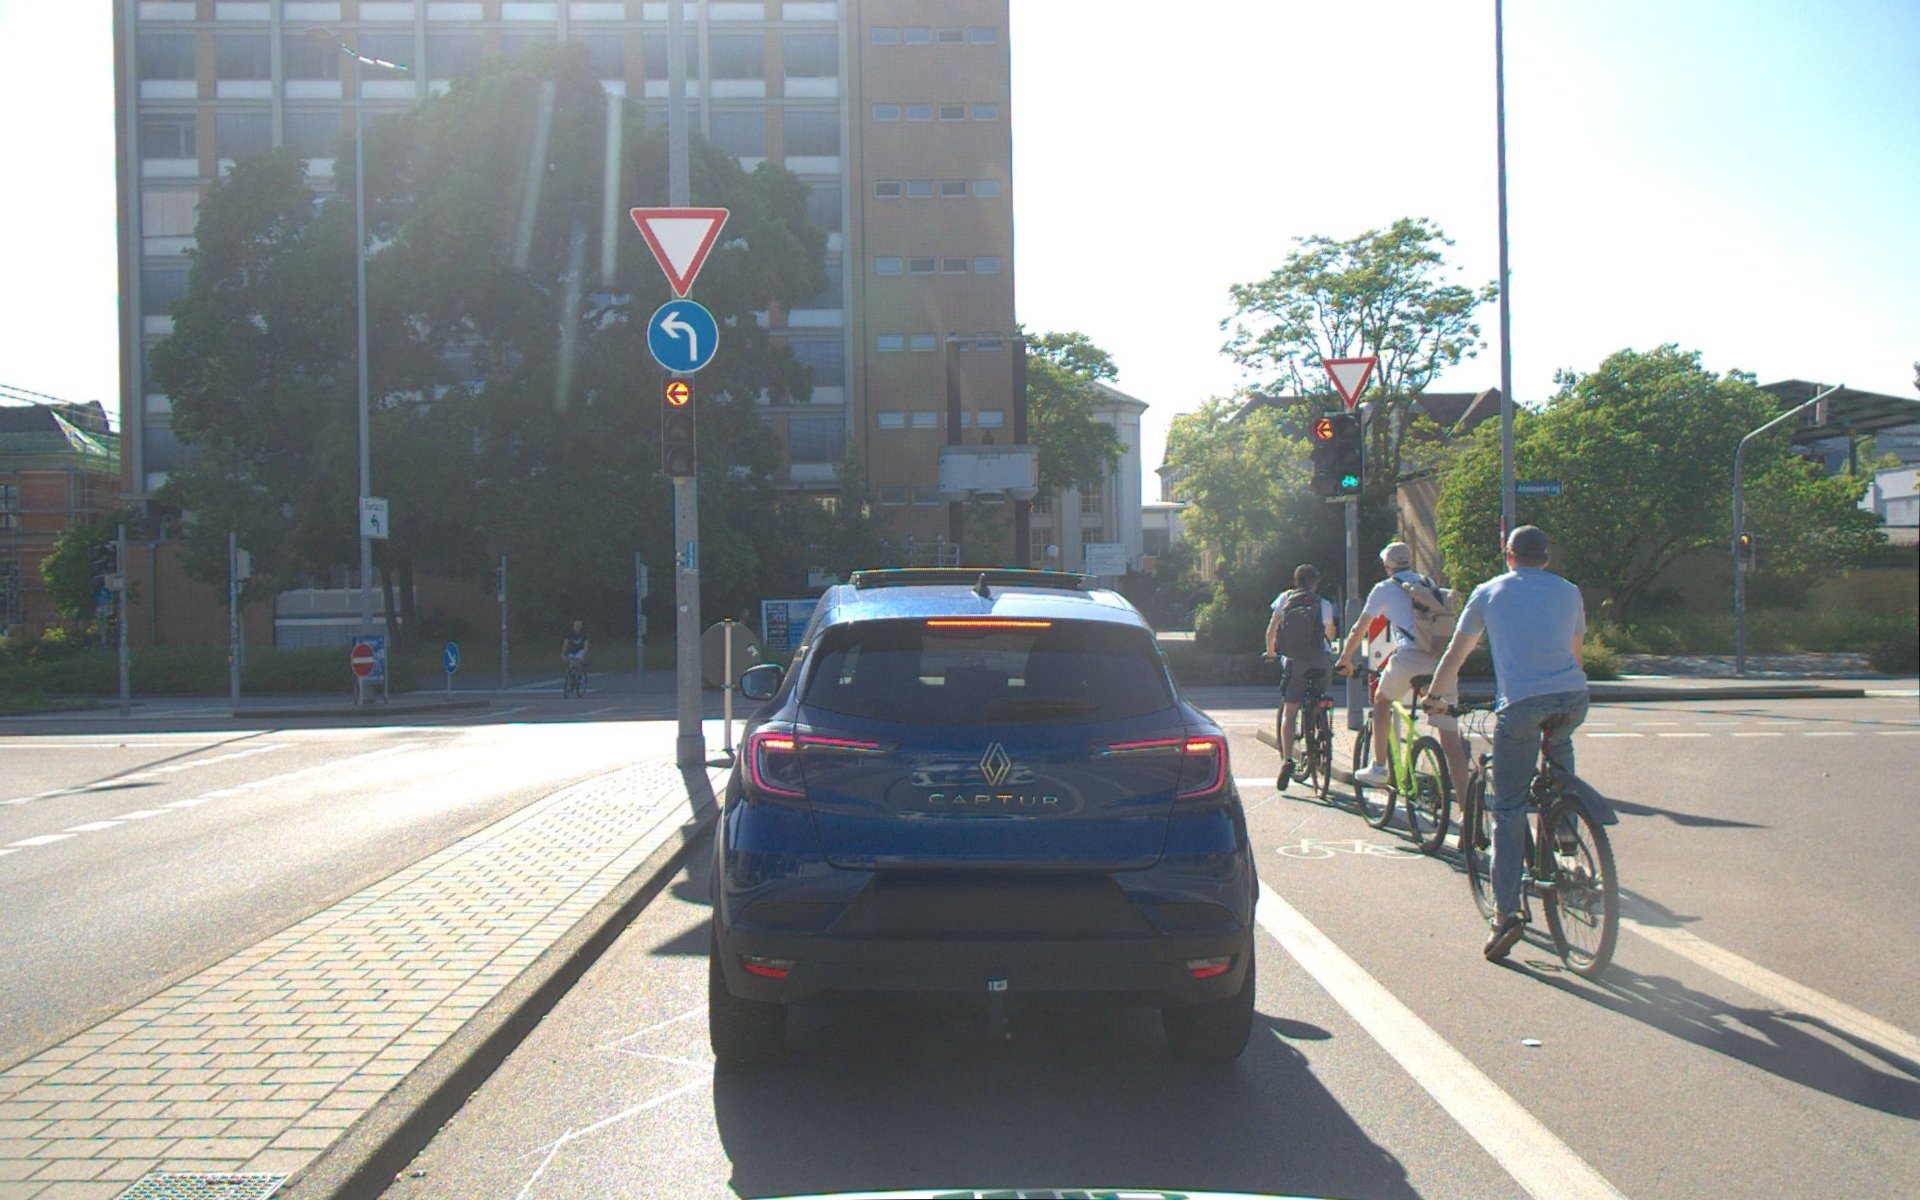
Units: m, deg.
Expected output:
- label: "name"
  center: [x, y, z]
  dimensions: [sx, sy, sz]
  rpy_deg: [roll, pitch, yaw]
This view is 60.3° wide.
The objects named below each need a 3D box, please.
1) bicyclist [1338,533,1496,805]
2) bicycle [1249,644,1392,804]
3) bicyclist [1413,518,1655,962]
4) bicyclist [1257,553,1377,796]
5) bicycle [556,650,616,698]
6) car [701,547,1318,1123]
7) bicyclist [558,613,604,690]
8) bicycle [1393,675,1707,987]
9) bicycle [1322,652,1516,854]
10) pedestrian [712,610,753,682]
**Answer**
- label: "bicyclist"
  center: [2.863, 0.413, 10.451]
  dimensions: [0.664, 1.622, 1.142]
  rpy_deg: [0, 0, -1]
- label: "bicycle"
  center: [2.779, 0.924, 12.931]
  dimensions: [0.675, 1.108, 1.922]
  rpy_deg: [0, 0, -1]
- label: "bicyclist"
  center: [2.513, 0.574, 7.365]
  dimensions: [0.669, 1.822, 1.142]
  rpy_deg: [0, 0, -1]
- label: "bicyclist"
  center: [2.786, 0.559, 13.003]
  dimensions: [0.685, 1.822, 1.142]
  rpy_deg: [0, 0, -1]
- label: "bicycle"
  center: [-8.699, 1.703, 38.508]
  dimensions: [0.739, 1.002, 2.095]
  rpy_deg: [-1, 0, 5]
- label: "car"
  center: [0.060, 0.663, 6.645]
  dimensions: [1.753, 1.613, 3.912]
  rpy_deg: [0, 0, -3]
- label: "bicyclist"
  center: [-8.739, 1.173, 38.158]
  dimensions: [0.739, 1.746, 0.999]
  rpy_deg: [-1, 0, 5]
- label: "bicycle"
  center: [2.516, 0.930, 7.308]
  dimensions: [0.675, 1.108, 1.922]
  rpy_deg: [0, 0, -1]
- label: "bicycle"
  center: [2.863, 0.911, 10.515]
  dimensions: [0.675, 1.108, 1.922]
  rpy_deg: [0, 0, -1]
- label: "pedestrian"
  center: [-6.187, 1.243, 44.954]
  dimensions: [0.796, 1.895, 0.910]
  rpy_deg: [-1, 0, 13]
